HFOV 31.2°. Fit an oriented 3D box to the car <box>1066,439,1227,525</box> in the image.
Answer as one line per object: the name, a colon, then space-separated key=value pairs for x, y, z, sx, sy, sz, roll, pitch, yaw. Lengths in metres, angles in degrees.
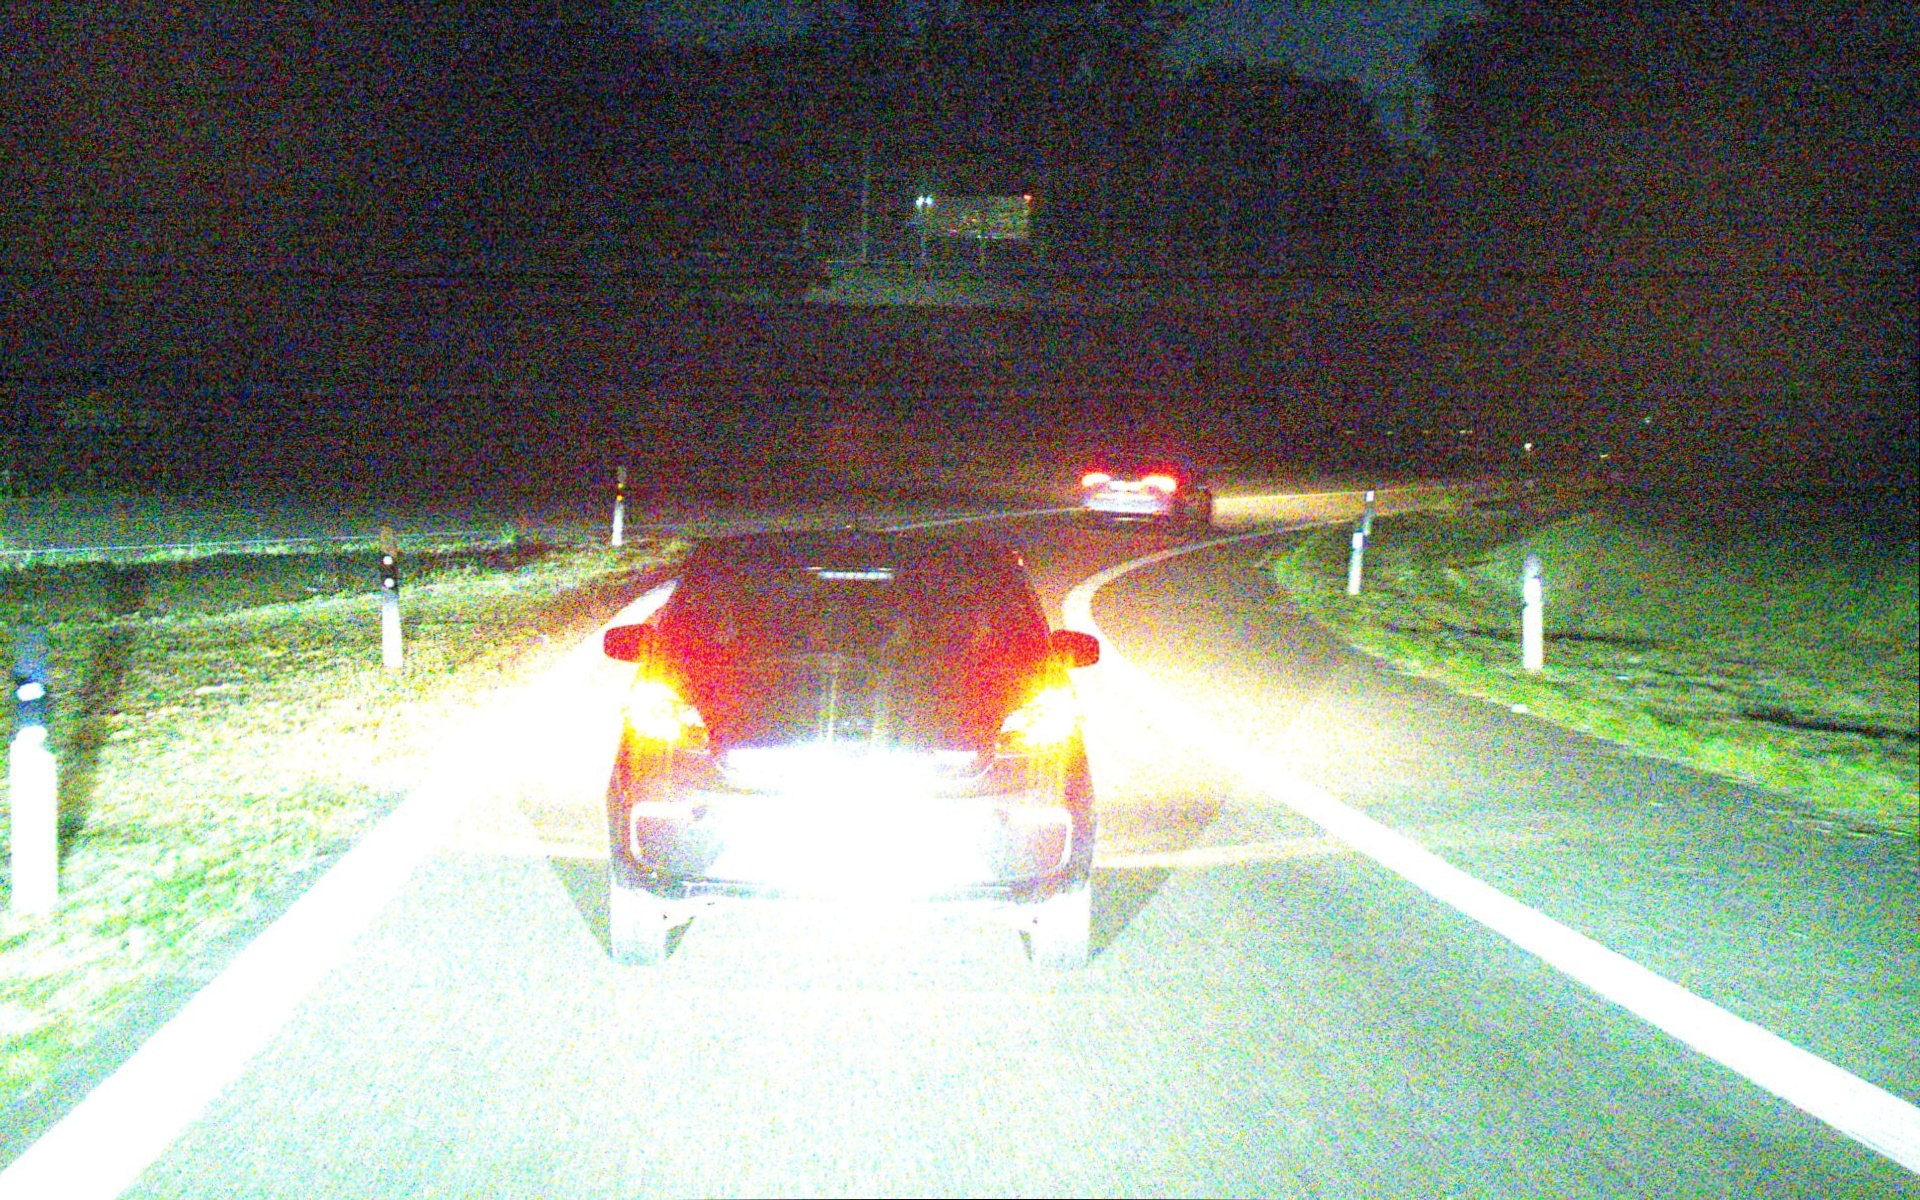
car: x=3.493 y=-2.155 z=63.613 sx=1.953 sy=1.532 sz=4.238 roll=0 pitch=1 yaw=18

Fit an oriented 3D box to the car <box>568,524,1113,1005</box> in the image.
car: x=-0.378 y=0.472 z=12.776 sx=1.691 sy=1.472 sz=4.000 roll=1 pitch=1 yaw=0
